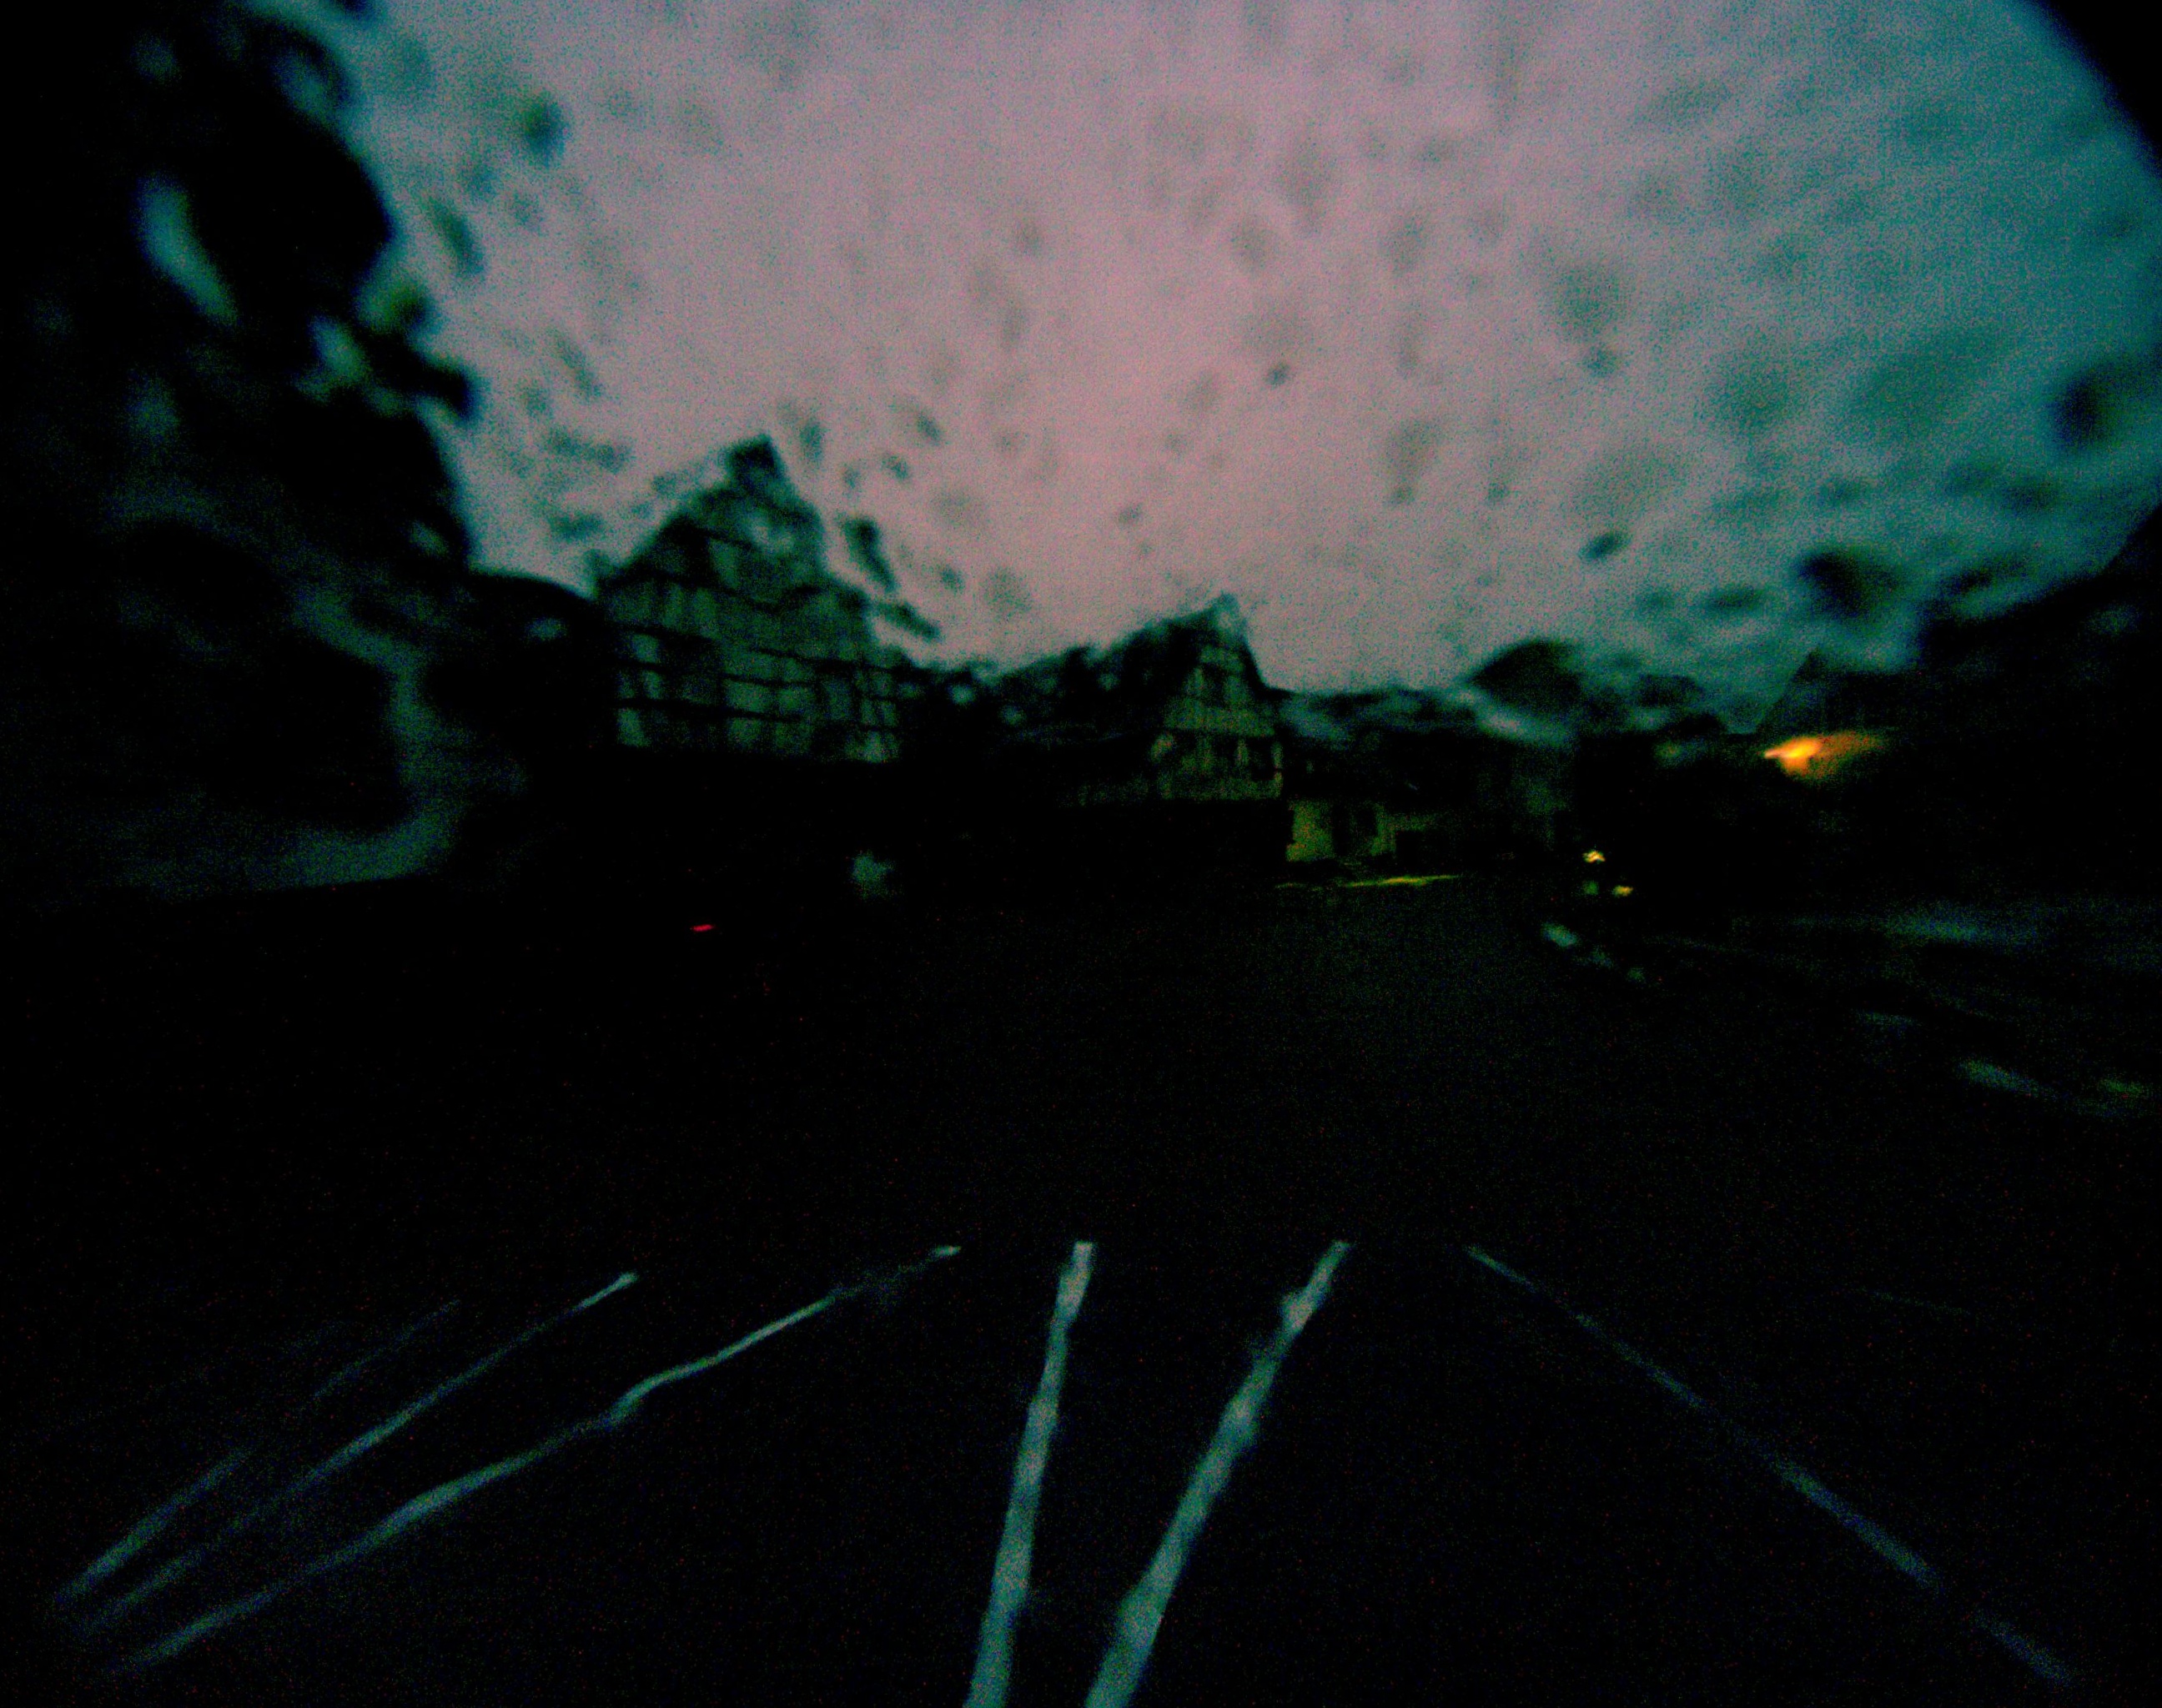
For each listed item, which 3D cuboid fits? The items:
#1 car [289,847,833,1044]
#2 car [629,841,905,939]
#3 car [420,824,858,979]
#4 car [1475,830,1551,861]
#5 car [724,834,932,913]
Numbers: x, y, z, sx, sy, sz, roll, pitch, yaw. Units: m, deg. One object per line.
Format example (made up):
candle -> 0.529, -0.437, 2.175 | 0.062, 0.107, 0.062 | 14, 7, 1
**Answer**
car -> -4.582, 0.754, 7.406 | 3.899, 1.442, 1.884 | 2, 2, -24
car -> -5.244, 0.594, 12.992 | 4.043, 1.413, 1.811 | 2, 2, -24
car -> -5.379, 0.550, 9.881 | 4.483, 1.651, 1.851 | 2, 2, -25
car -> 23.719, -0.513, 41.869 | 1.650, 1.498, 3.484 | -2, 4, -13
car -> -5.460, 0.417, 16.533 | 3.991, 1.507, 1.593 | 2, 2, -31
